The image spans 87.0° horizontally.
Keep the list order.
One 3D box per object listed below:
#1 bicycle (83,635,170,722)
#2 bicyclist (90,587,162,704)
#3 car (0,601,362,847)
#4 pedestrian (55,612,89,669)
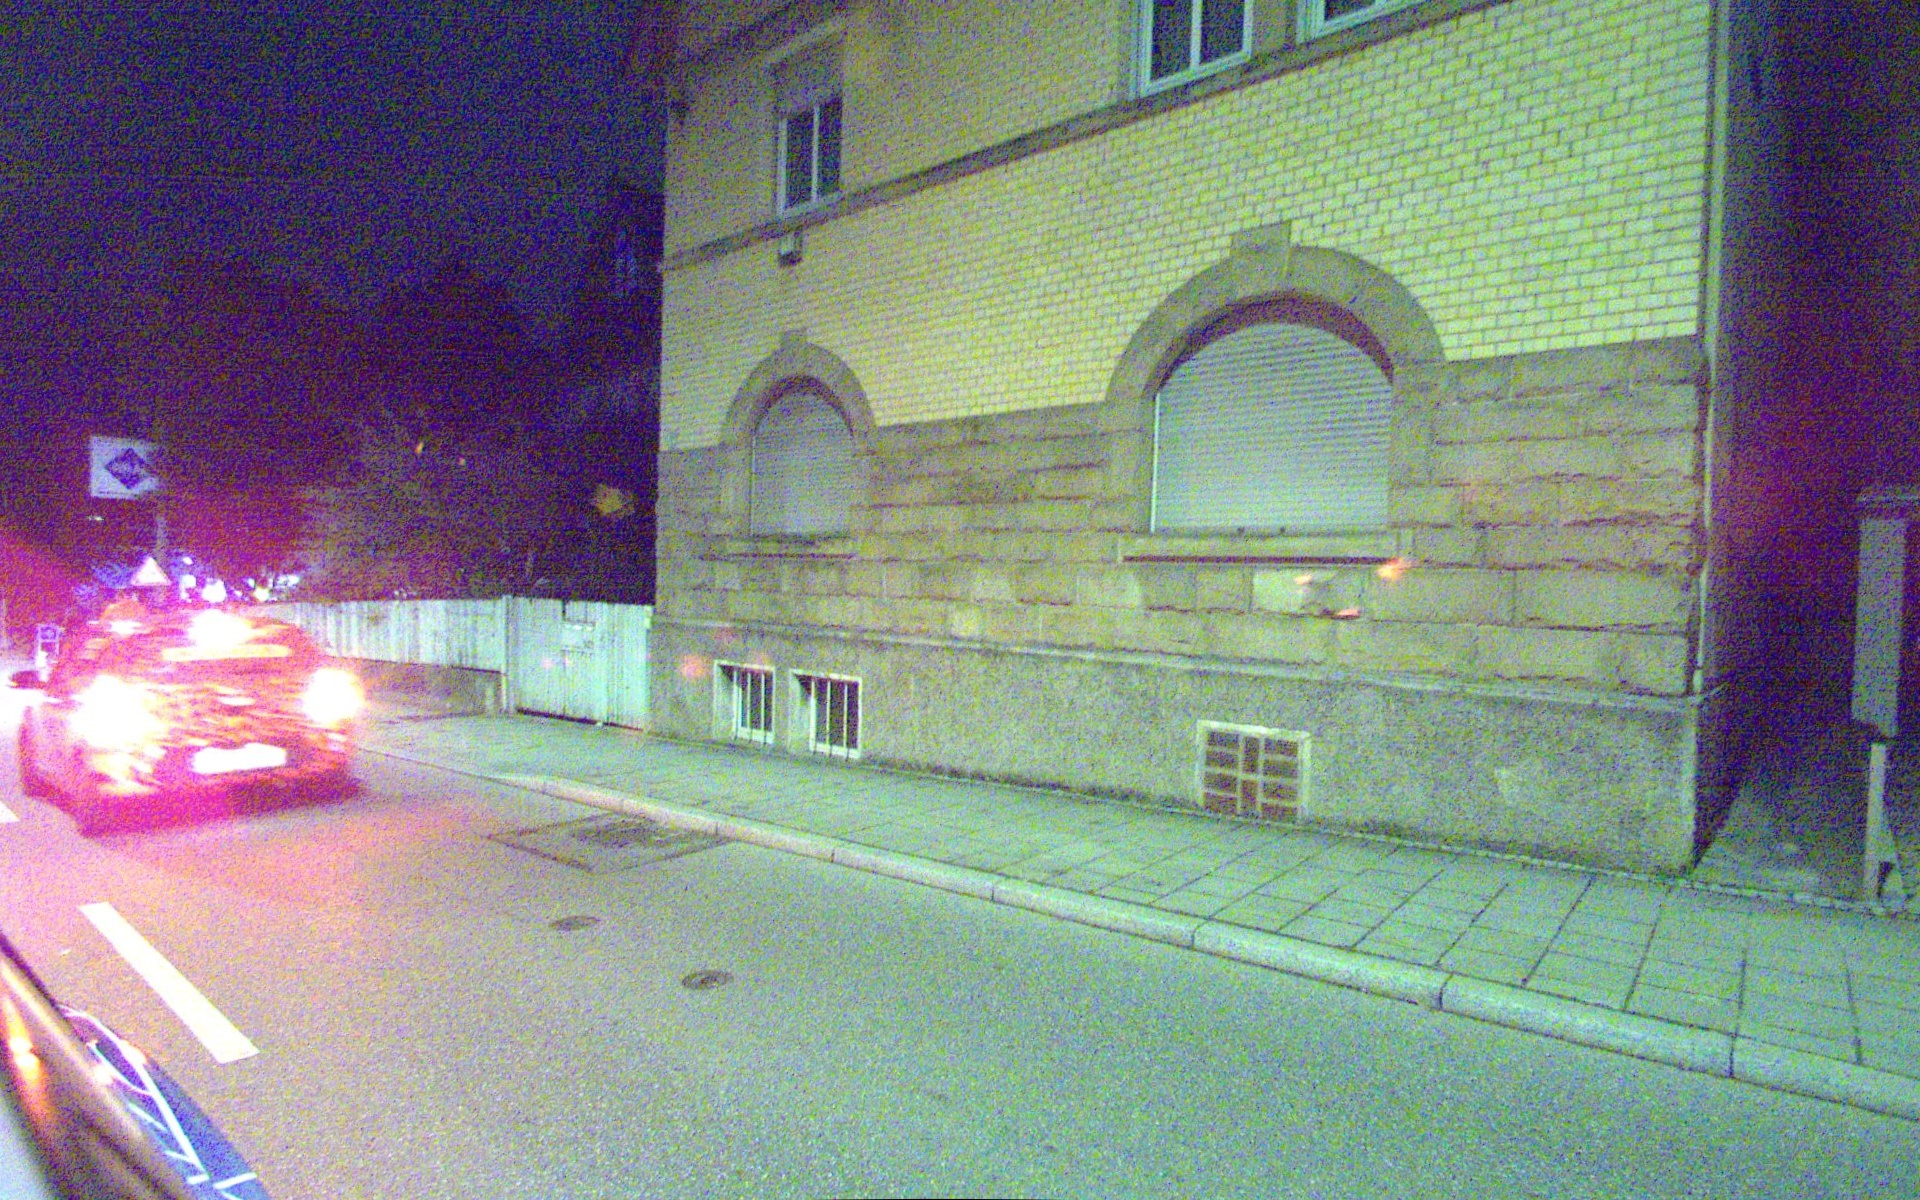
[{"bbox_3d":[-12.329,1.122,14.944,1.950,1.157,0.689,-1,0,41],"label":"bicycle"},{"bbox_3d":[-12.294,0.646,14.923,0.896,1.649,0.683,-1,0,41],"label":"bicyclist"},{"bbox_3d":[-6.231,0.797,7.951,3.392,1.513,1.566,-1,-1,39],"label":"car"},{"bbox_3d":[-27.663,1.255,31.531,0.865,1.739,0.662,-1,-1,38],"label":"pedestrian"}]
